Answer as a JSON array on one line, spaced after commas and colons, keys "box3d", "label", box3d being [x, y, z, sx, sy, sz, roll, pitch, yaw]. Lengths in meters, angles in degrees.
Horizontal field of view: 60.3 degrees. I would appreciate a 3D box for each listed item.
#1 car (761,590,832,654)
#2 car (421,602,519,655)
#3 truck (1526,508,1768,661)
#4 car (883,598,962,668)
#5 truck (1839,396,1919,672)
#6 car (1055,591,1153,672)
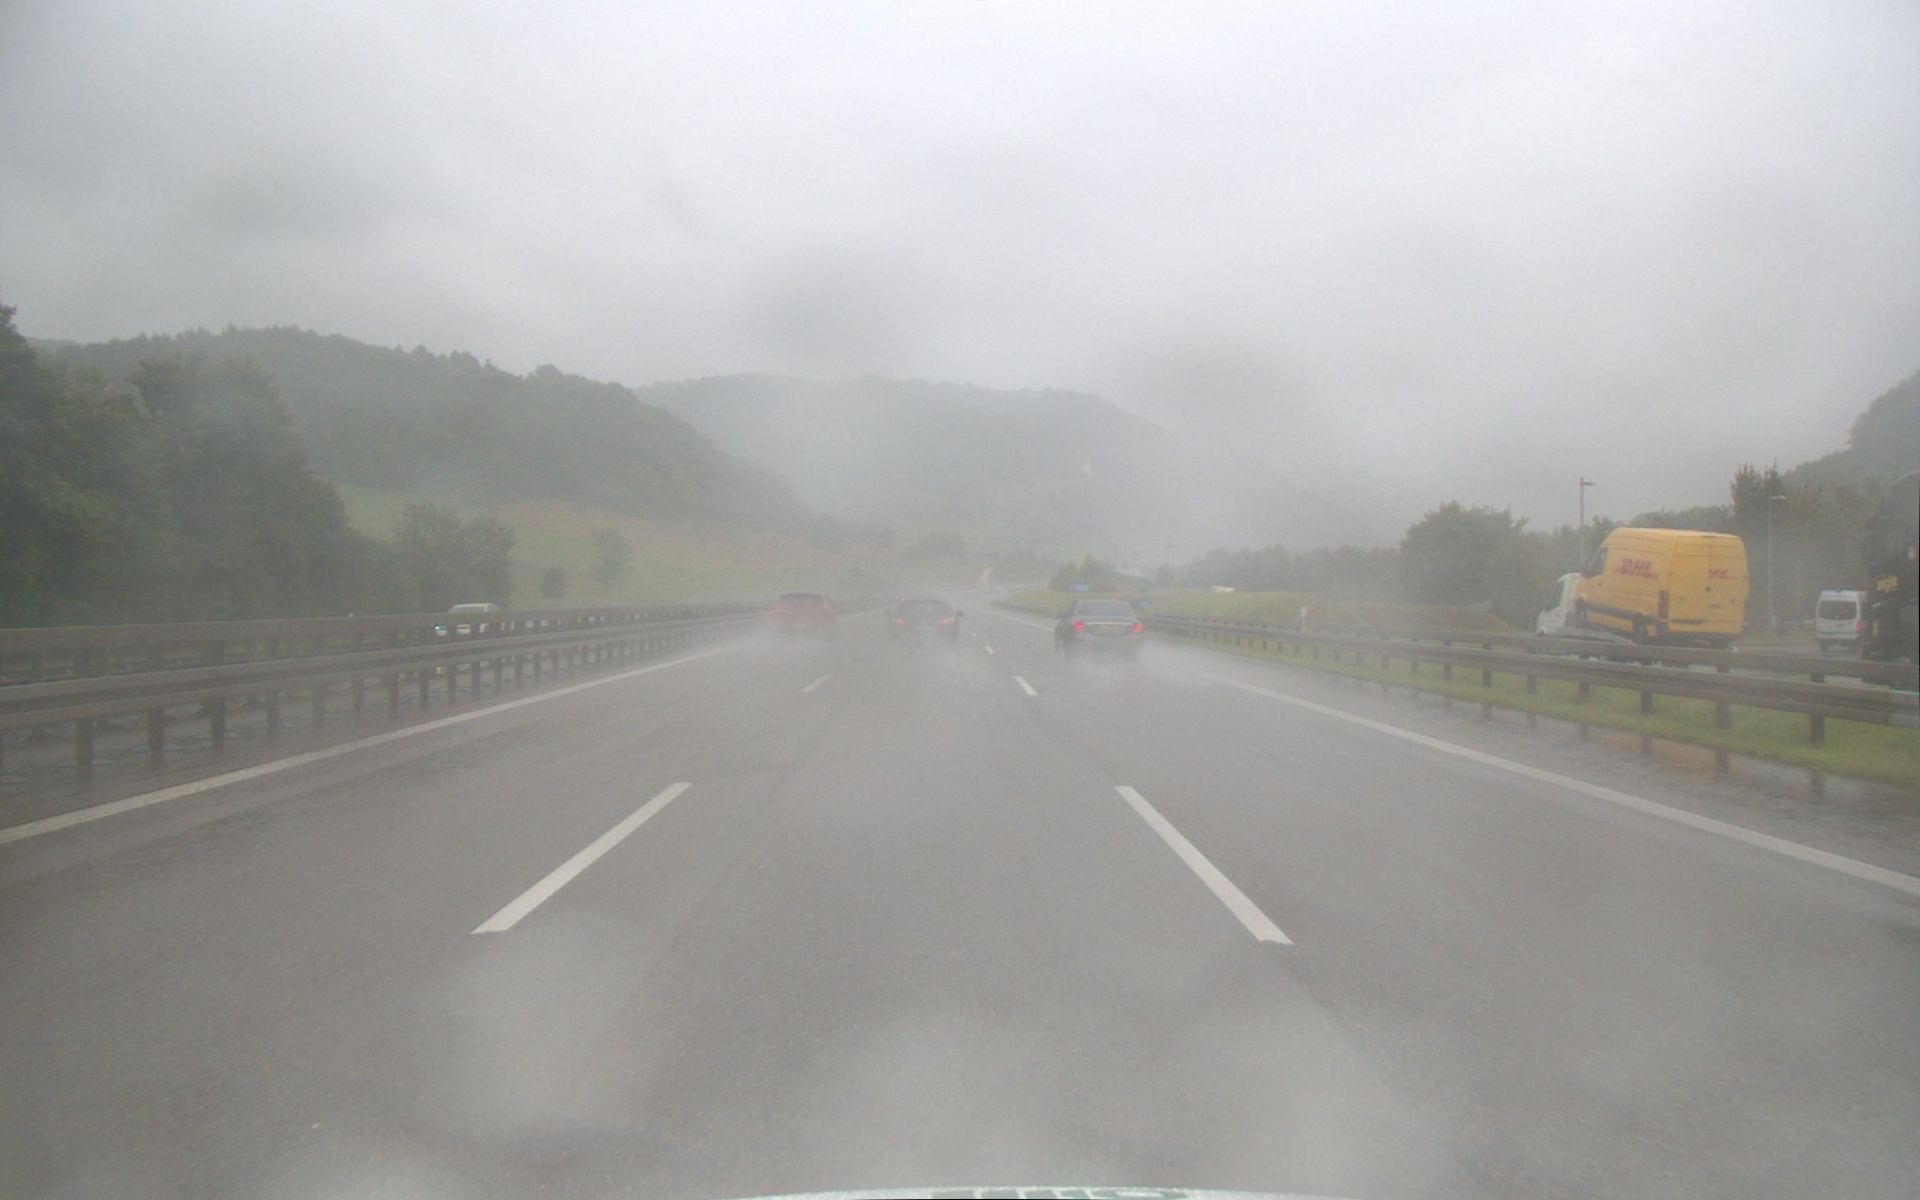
[{"box3d": [-4.933, 0.637, 50.289, 1.846, 1.847, 3.999, 0, 0, -1], "label": "car"}, {"box3d": [-17.339, 0.977, 58.782, 1.953, 1.722, 5.303, -1, 0, -1], "label": "car"}, {"box3d": [16.159, -0.323, 39.660, 2.244, 3.202, 8.864, 1, 0, 1], "label": "truck"}, {"box3d": [-0.893, 0.772, 40.903, 1.821, 1.617, 3.999, 1, 0, 0], "label": "car"}, {"box3d": [16.664, -1.000, 24.148, 3.455, 4.293, 7.815, 1, 0, 0], "label": "truck"}, {"box3d": [3.364, 0.703, 39.351, 1.931, 1.791, 4.000, -1, 0, 0], "label": "car"}]
